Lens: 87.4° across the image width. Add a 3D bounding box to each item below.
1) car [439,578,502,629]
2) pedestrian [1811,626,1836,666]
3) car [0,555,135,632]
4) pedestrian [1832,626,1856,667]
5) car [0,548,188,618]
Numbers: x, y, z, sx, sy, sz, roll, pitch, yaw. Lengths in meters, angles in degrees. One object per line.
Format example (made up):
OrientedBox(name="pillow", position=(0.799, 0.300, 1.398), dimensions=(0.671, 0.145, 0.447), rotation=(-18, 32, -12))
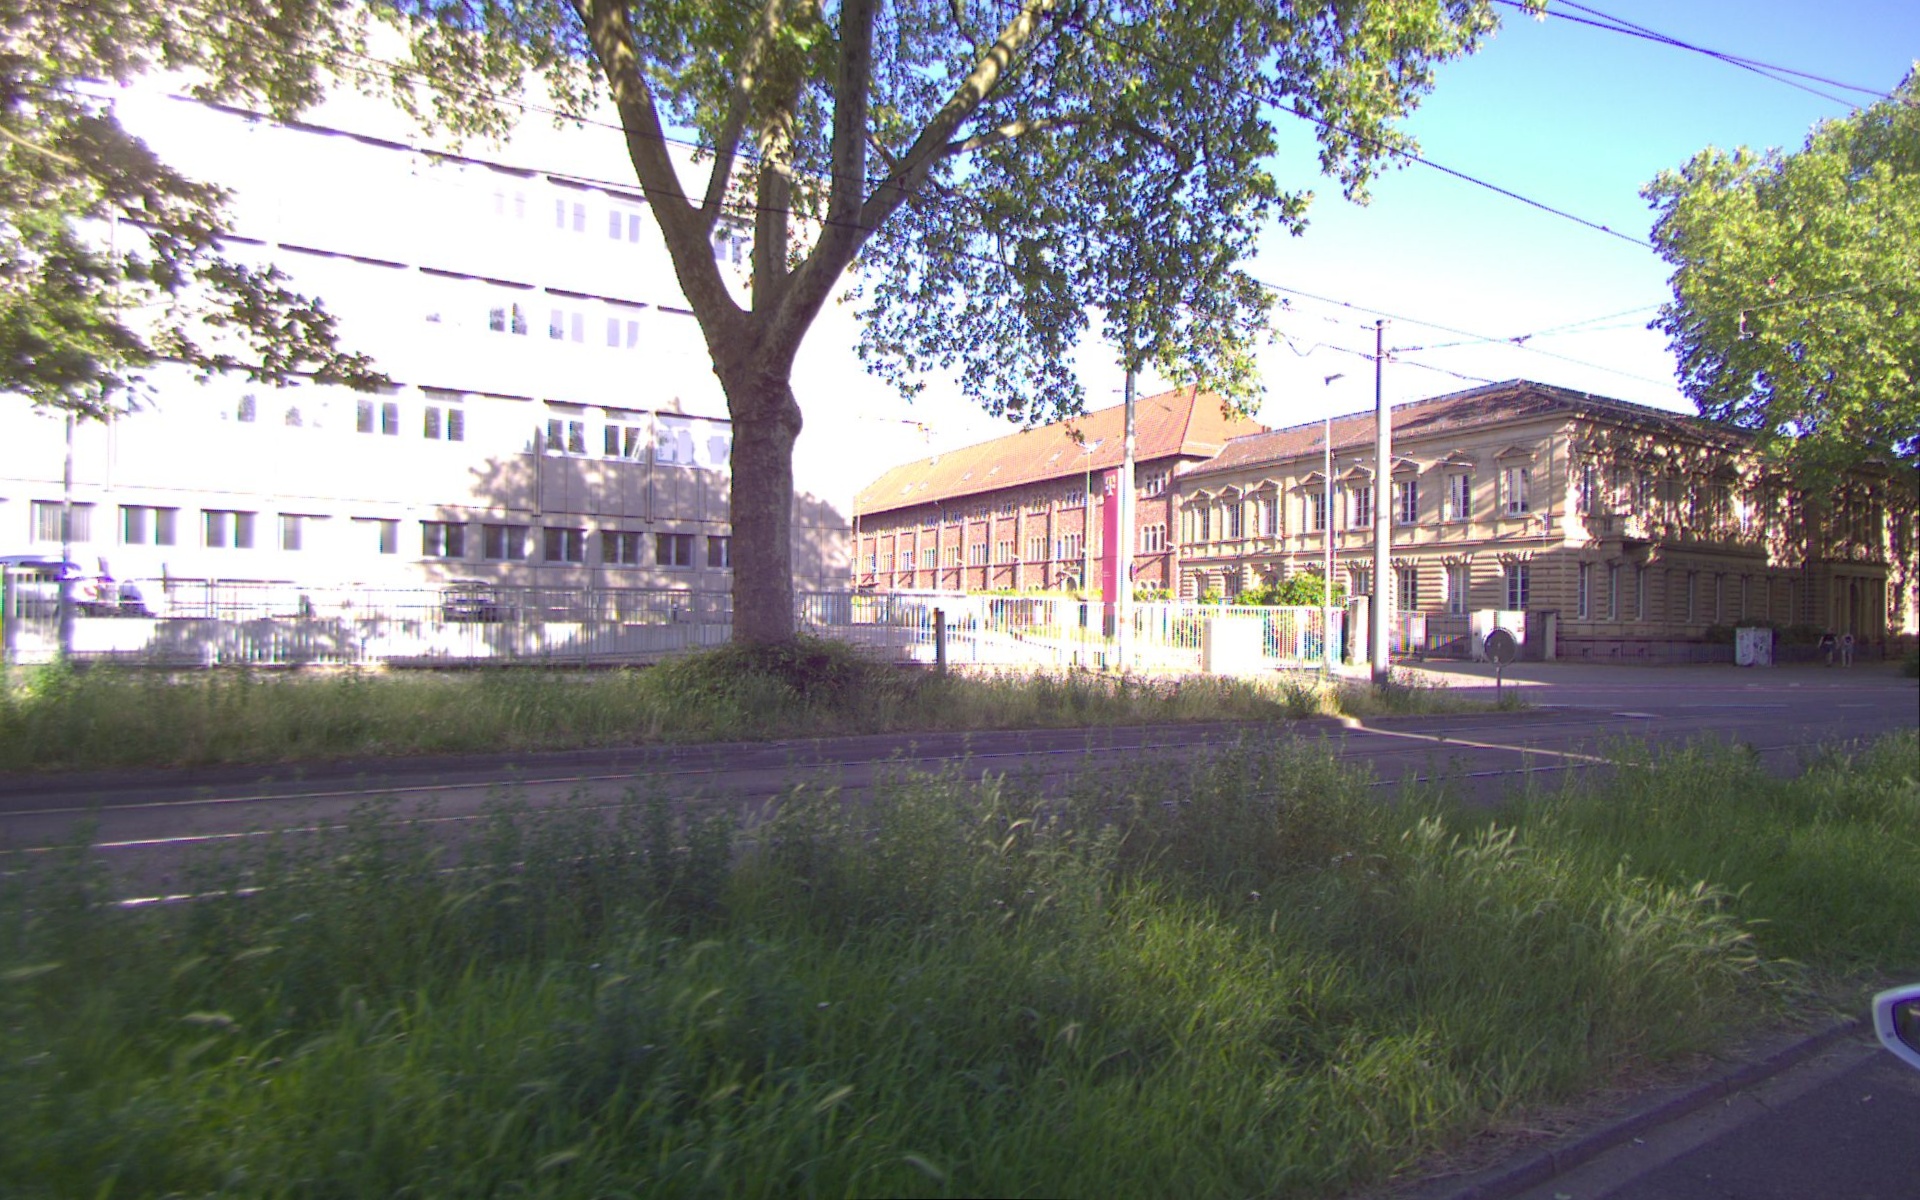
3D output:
OrientedBox(name="car", position=(-18.081, 0.137, 36.986), dimensions=(1.831, 1.742, 4.248), rotation=(2, 0, -29))
OrientedBox(name="pedestrian", position=(37.849, 1.997, 44.033), dimensions=(0.656, 1.720, 0.666), rotation=(2, 0, -37))
OrientedBox(name="car", position=(-23.482, -0.158, 25.233), dimensions=(3.952, 1.841, 1.839), rotation=(2, 0, -30))
OrientedBox(name="pedestrian", position=(38.267, 2.003, 43.467), dimensions=(0.650, 1.720, 0.629), rotation=(2, 0, -37))
OrientedBox(name="car", position=(-24.293, -0.441, 28.120), dimensions=(3.952, 1.775, 1.839), rotation=(2, 0, -30))
